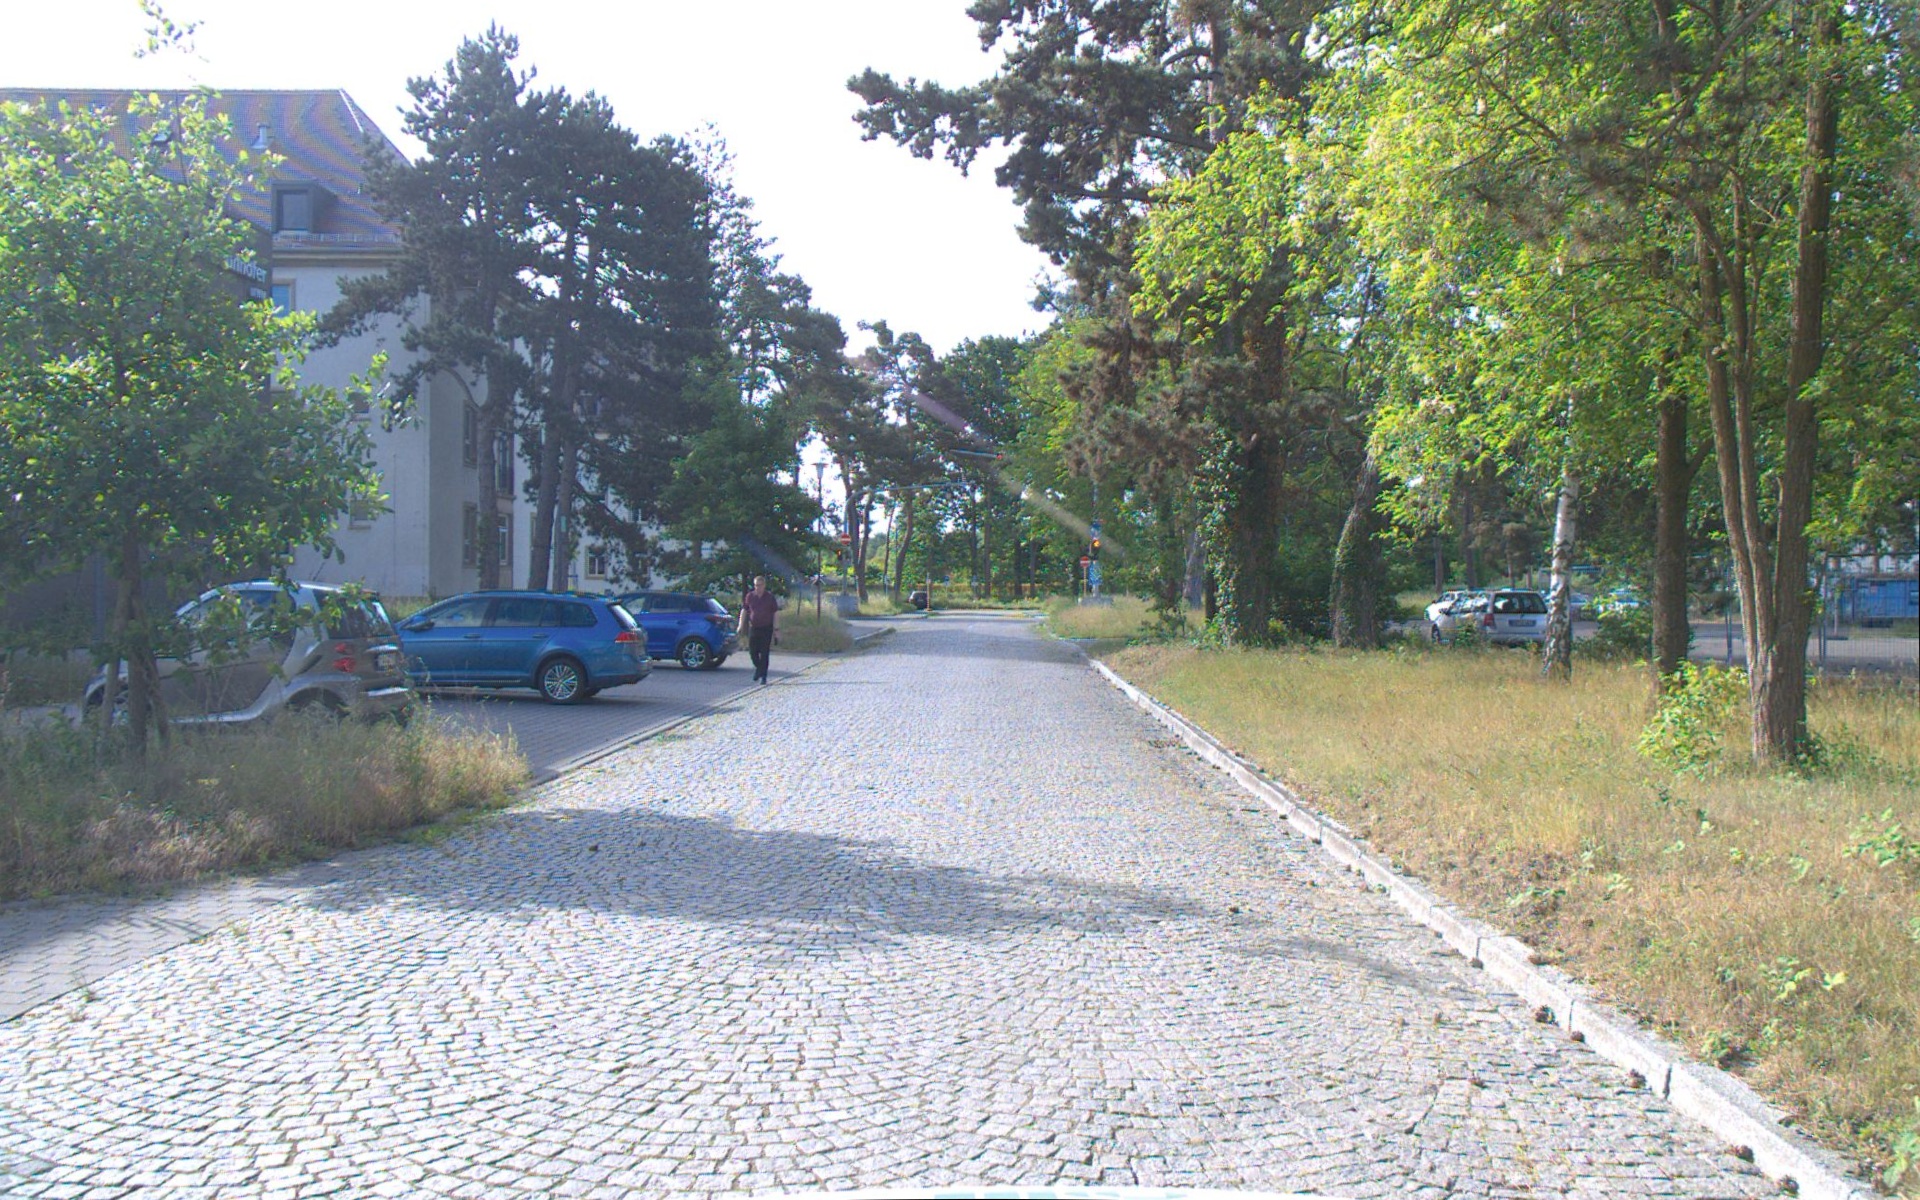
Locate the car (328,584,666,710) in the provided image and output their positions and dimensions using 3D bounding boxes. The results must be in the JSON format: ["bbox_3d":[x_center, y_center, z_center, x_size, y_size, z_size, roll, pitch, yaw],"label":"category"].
[{"bbox_3d":[-6.299,0.623,22.824,4.170,1.489,1.681,2,2,-2],"label":"car"}]

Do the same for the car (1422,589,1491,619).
[{"bbox_3d":[22.307,0.157,74.474,1.696,1.335,4.330,0,0,-2],"label":"car"}]

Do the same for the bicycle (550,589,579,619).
[{"bbox_3d":[-19.796,0.190,82.811,0.809,1.462,2.554,0,0,1],"label":"bicycle"}]

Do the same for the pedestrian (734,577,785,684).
[{"bbox_3d":[-3.454,0.510,28.596,0.788,1.802,1.152,0,0,-3],"label":"pedestrian"}]

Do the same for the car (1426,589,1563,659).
[{"bbox_3d":[11.861,0.501,36.980,1.634,1.493,3.998,0,0,-3],"label":"car"}]

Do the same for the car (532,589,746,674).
[{"bbox_3d":[-6.239,0.592,32.402,3.756,1.489,1.720,2,0,3],"label":"car"}]

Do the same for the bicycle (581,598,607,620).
[{"bbox_3d":[-18.259,0.444,82.492,0.809,1.065,2.124,0,0,1],"label":"bicycle"}]

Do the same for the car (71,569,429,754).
[{"bbox_3d":[-6.582,0.546,15.530,2.643,1.569,1.519,2,0,0],"label":"car"}]

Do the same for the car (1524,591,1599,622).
[{"bbox_3d":[27.254,0.295,75.064,1.696,1.335,4.330,-1,0,-2],"label":"car"}]

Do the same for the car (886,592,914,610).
[{"bbox_3d":[-5.198,0.090,143.383,1.744,1.516,3.758,0,0,8],"label":"car"}]

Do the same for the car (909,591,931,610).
[{"bbox_3d":[-3.350,0.035,138.533,1.807,1.512,3.999,0,0,-1],"label":"car"}]
